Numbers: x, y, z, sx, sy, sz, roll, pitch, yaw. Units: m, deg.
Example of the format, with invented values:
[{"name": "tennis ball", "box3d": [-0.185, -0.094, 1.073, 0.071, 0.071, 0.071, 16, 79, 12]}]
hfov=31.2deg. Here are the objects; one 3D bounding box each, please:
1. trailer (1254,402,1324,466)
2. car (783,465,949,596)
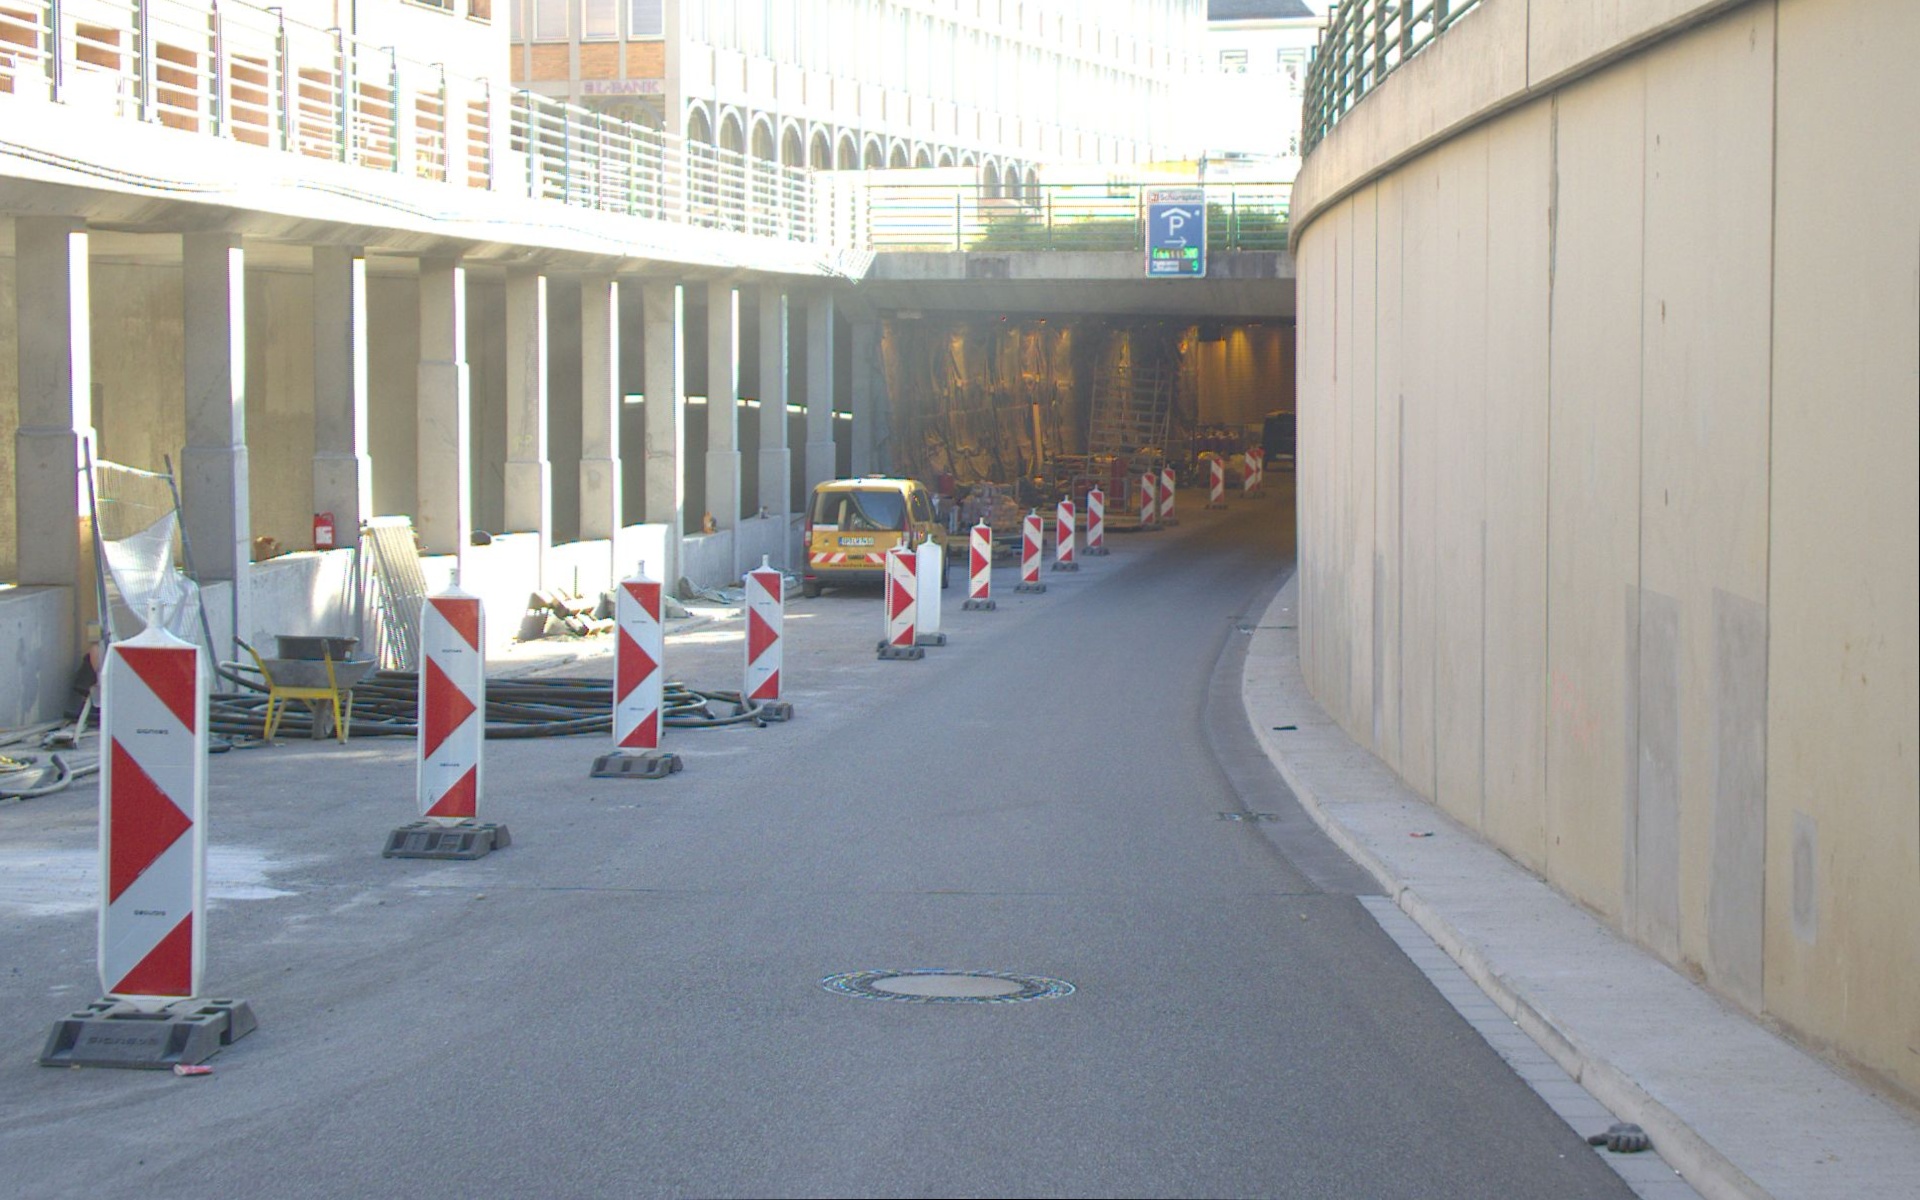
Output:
[{"name": "trailer", "box3d": [9.805, -4.963, 102.345, 1.582, 1.791, 2.938, 3, 5, 14]}, {"name": "car", "box3d": [-1.397, -1.111, 52.856, 1.848, 1.769, 4.434, 1, 4, 8]}]
